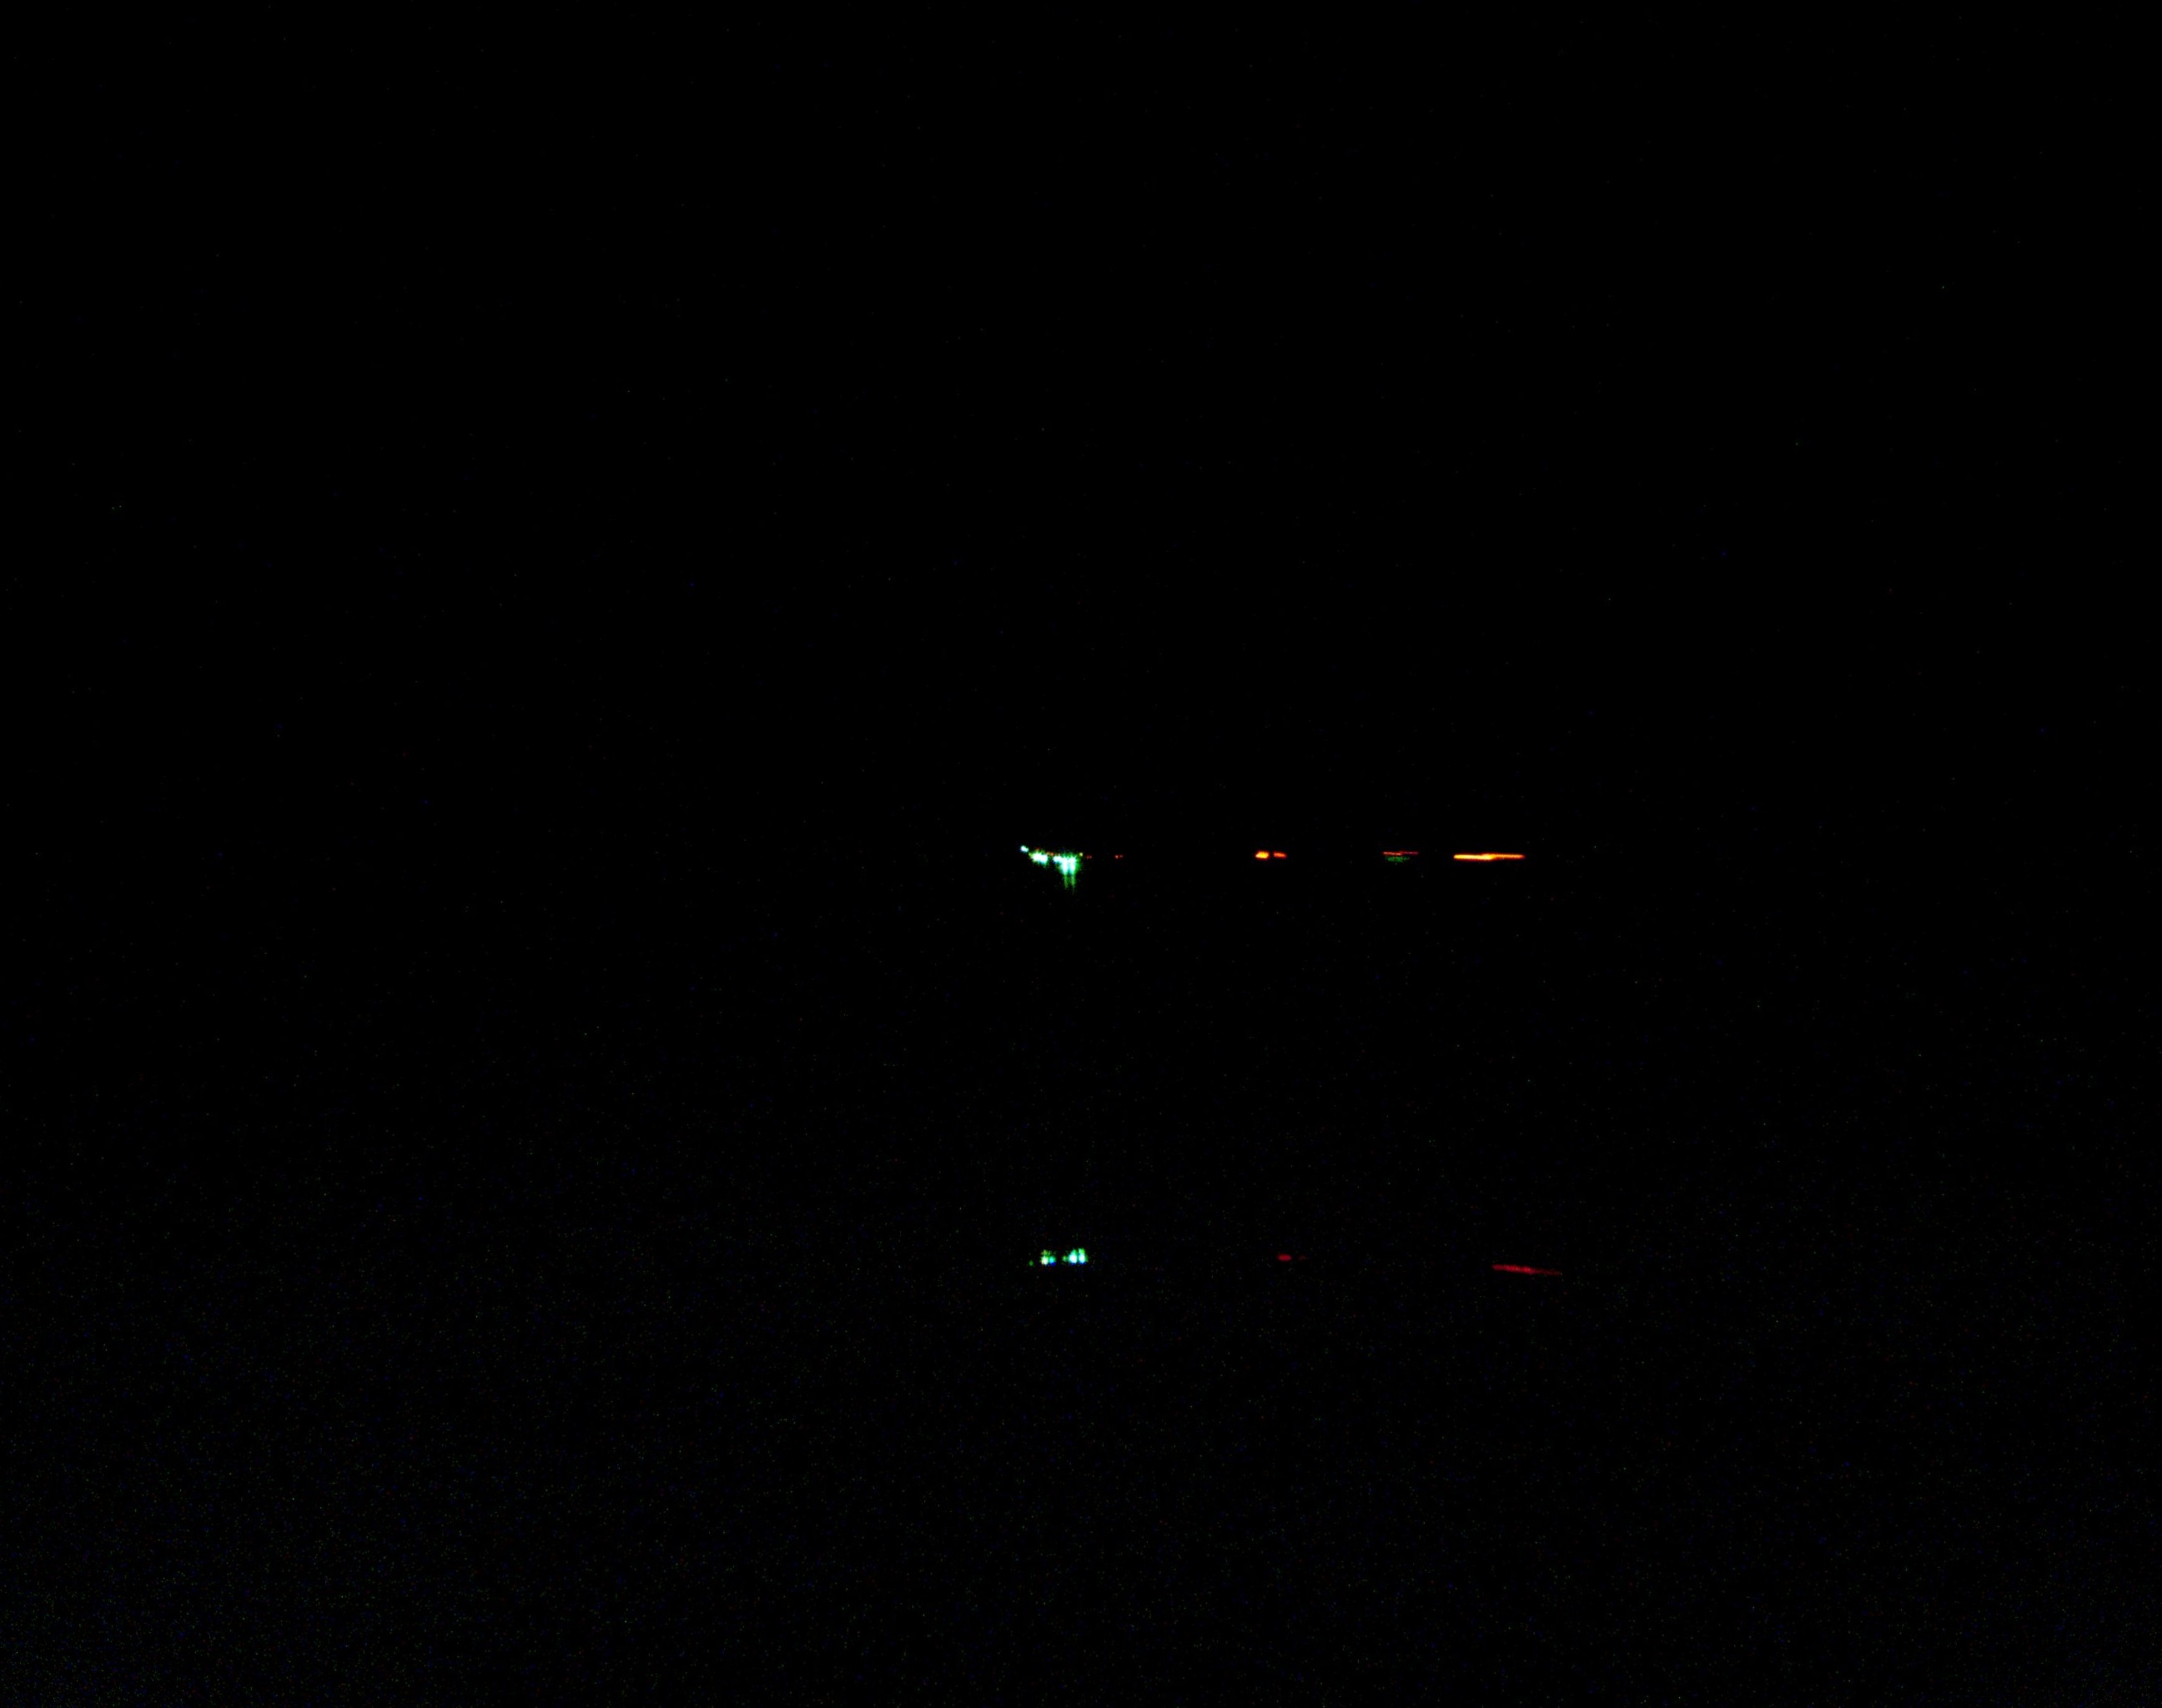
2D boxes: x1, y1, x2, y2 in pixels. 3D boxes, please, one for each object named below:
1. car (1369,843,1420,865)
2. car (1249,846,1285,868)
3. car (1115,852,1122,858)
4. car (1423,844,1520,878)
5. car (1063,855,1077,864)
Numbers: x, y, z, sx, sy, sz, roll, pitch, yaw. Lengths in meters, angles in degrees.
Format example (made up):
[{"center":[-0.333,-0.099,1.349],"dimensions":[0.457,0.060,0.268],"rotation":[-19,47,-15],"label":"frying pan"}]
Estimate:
[{"center":[22.987,-0.038,55.863],"dimensions":[1.998,1.499,4.400],"rotation":[-2,1,1],"label":"car"},{"center":[16.165,0.196,66.281],"dimensions":[1.998,1.780,4.680],"rotation":[-2,1,2],"label":"car"},{"center":[13.333,0.377,267.920],"dimensions":[2.032,2.001,5.187],"rotation":[-2,-2,-2],"label":"car"},{"center":[18.598,0.290,36.485],"dimensions":[1.999,1.471,4.929],"rotation":[-2,1,-1],"label":"car"},{"center":[-2.036,0.992,137.041],"dimensions":[2.155,1.558,4.579],"rotation":[-2,1,-3],"label":"car"}]
